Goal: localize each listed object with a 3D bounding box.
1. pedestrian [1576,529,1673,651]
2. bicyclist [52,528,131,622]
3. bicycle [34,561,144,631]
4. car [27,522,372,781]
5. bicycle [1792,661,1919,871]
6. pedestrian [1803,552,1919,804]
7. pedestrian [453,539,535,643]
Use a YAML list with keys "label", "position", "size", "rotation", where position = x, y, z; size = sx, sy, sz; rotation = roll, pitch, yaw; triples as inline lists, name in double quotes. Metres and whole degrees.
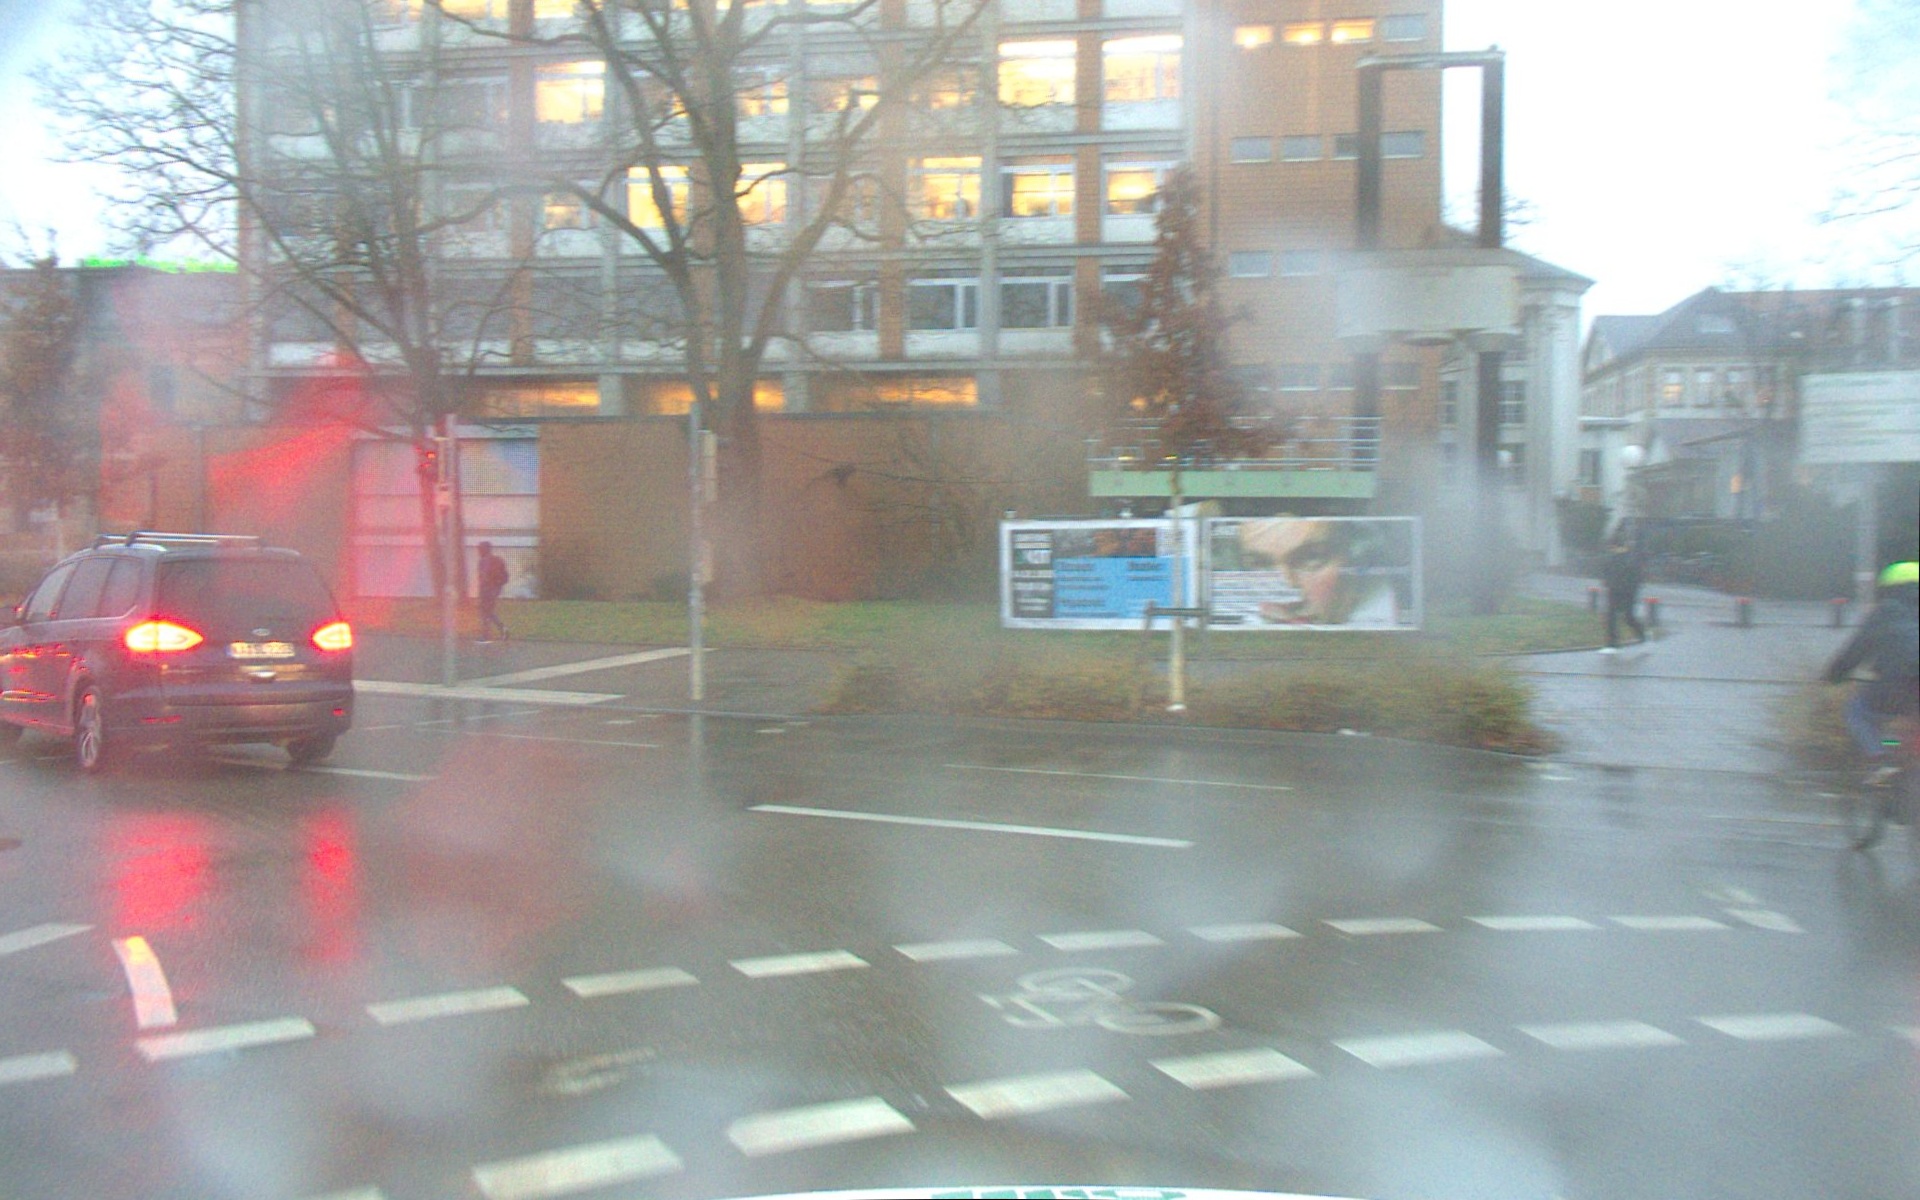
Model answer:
- label: "pedestrian"
  position: [9.760, -0.159, 24.324]
  size: [0.909, 1.716, 0.909]
  rotation: [0, 4, -14]
- label: "bicyclist"
  position: [-15.879, -0.477, 30.236]
  size: [1.063, 1.645, 0.804]
  rotation: [2, 5, 34]
- label: "bicycle"
  position: [-15.980, -0.093, 30.319]
  size: [2.168, 1.161, 0.804]
  rotation: [2, 5, 34]
- label: "car"
  position: [-6.544, 0.300, 13.951]
  size: [1.765, 1.831, 4.366]
  rotation: [0, 2, -37]
- label: "bicycle"
  position: [5.468, 0.911, 9.688]
  size: [0.549, 0.963, 2.097]
  rotation: [0, 2, 12]
- label: "pedestrian"
  position: [5.309, 0.405, 9.242]
  size: [0.856, 1.339, 0.849]
  rotation: [0, 2, 11]
- label: "pedestrian"
  position: [-7.954, -0.164, 28.262]
  size: [1.047, 1.716, 0.808]
  rotation: [1, 3, 31]
